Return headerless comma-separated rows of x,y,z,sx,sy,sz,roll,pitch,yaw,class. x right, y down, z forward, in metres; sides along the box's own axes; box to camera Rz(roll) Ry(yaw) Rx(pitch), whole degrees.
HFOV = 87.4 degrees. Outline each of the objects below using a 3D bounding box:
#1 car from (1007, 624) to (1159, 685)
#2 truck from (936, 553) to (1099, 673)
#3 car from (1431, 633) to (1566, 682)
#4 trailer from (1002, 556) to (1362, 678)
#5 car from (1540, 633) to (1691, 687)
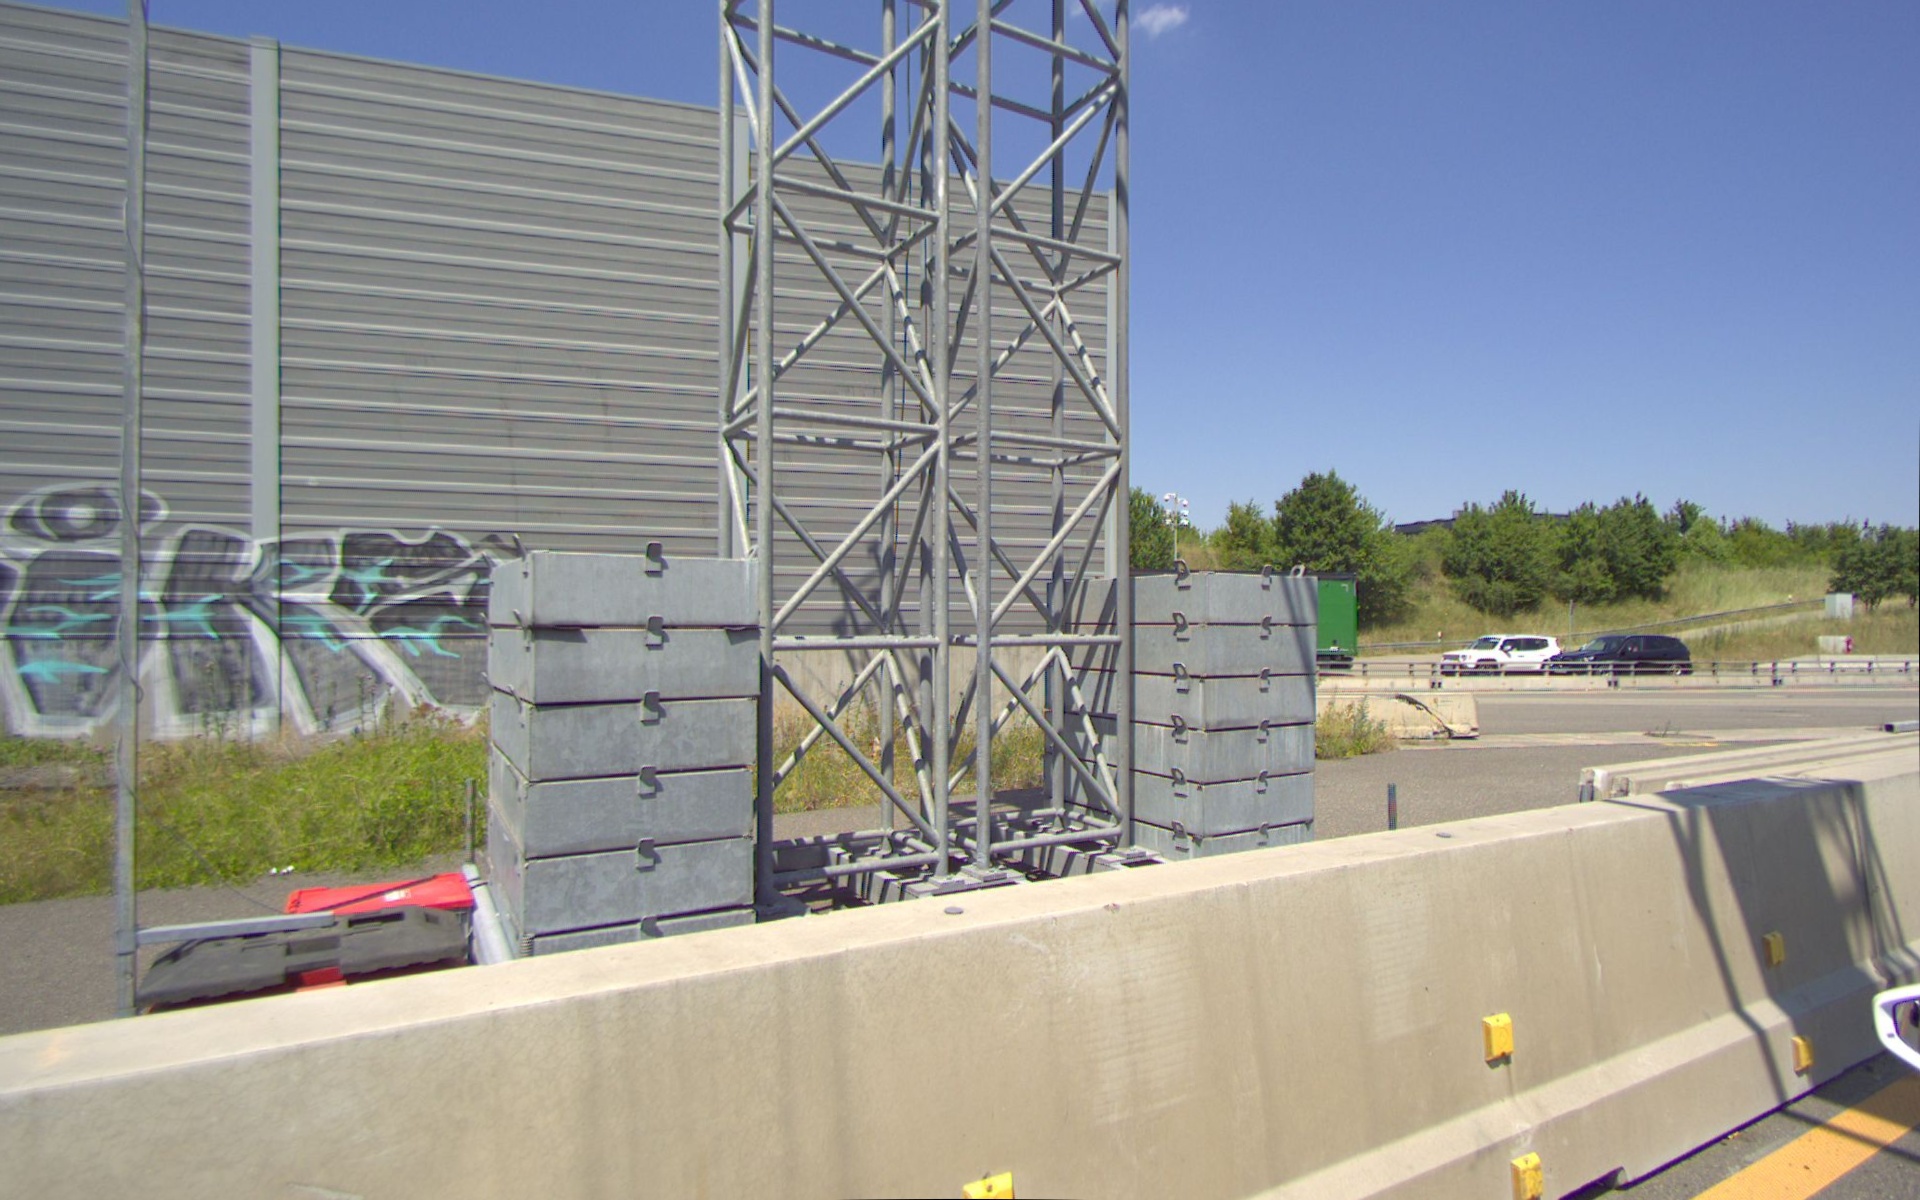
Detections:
3.595,1.587,29.573,4.097,1.645,1.718,1,0,-12,car
2.139,0.504,39.283,5.673,4.327,3.552,1,0,-8,truck
19.162,2.046,35.787,4.097,1.645,1.718,1,0,-12,car
8.777,0.697,40.273,13.653,4.327,3.552,2,0,-8,trailer
21.239,1.931,32.605,4.097,1.645,1.718,1,0,-12,car
